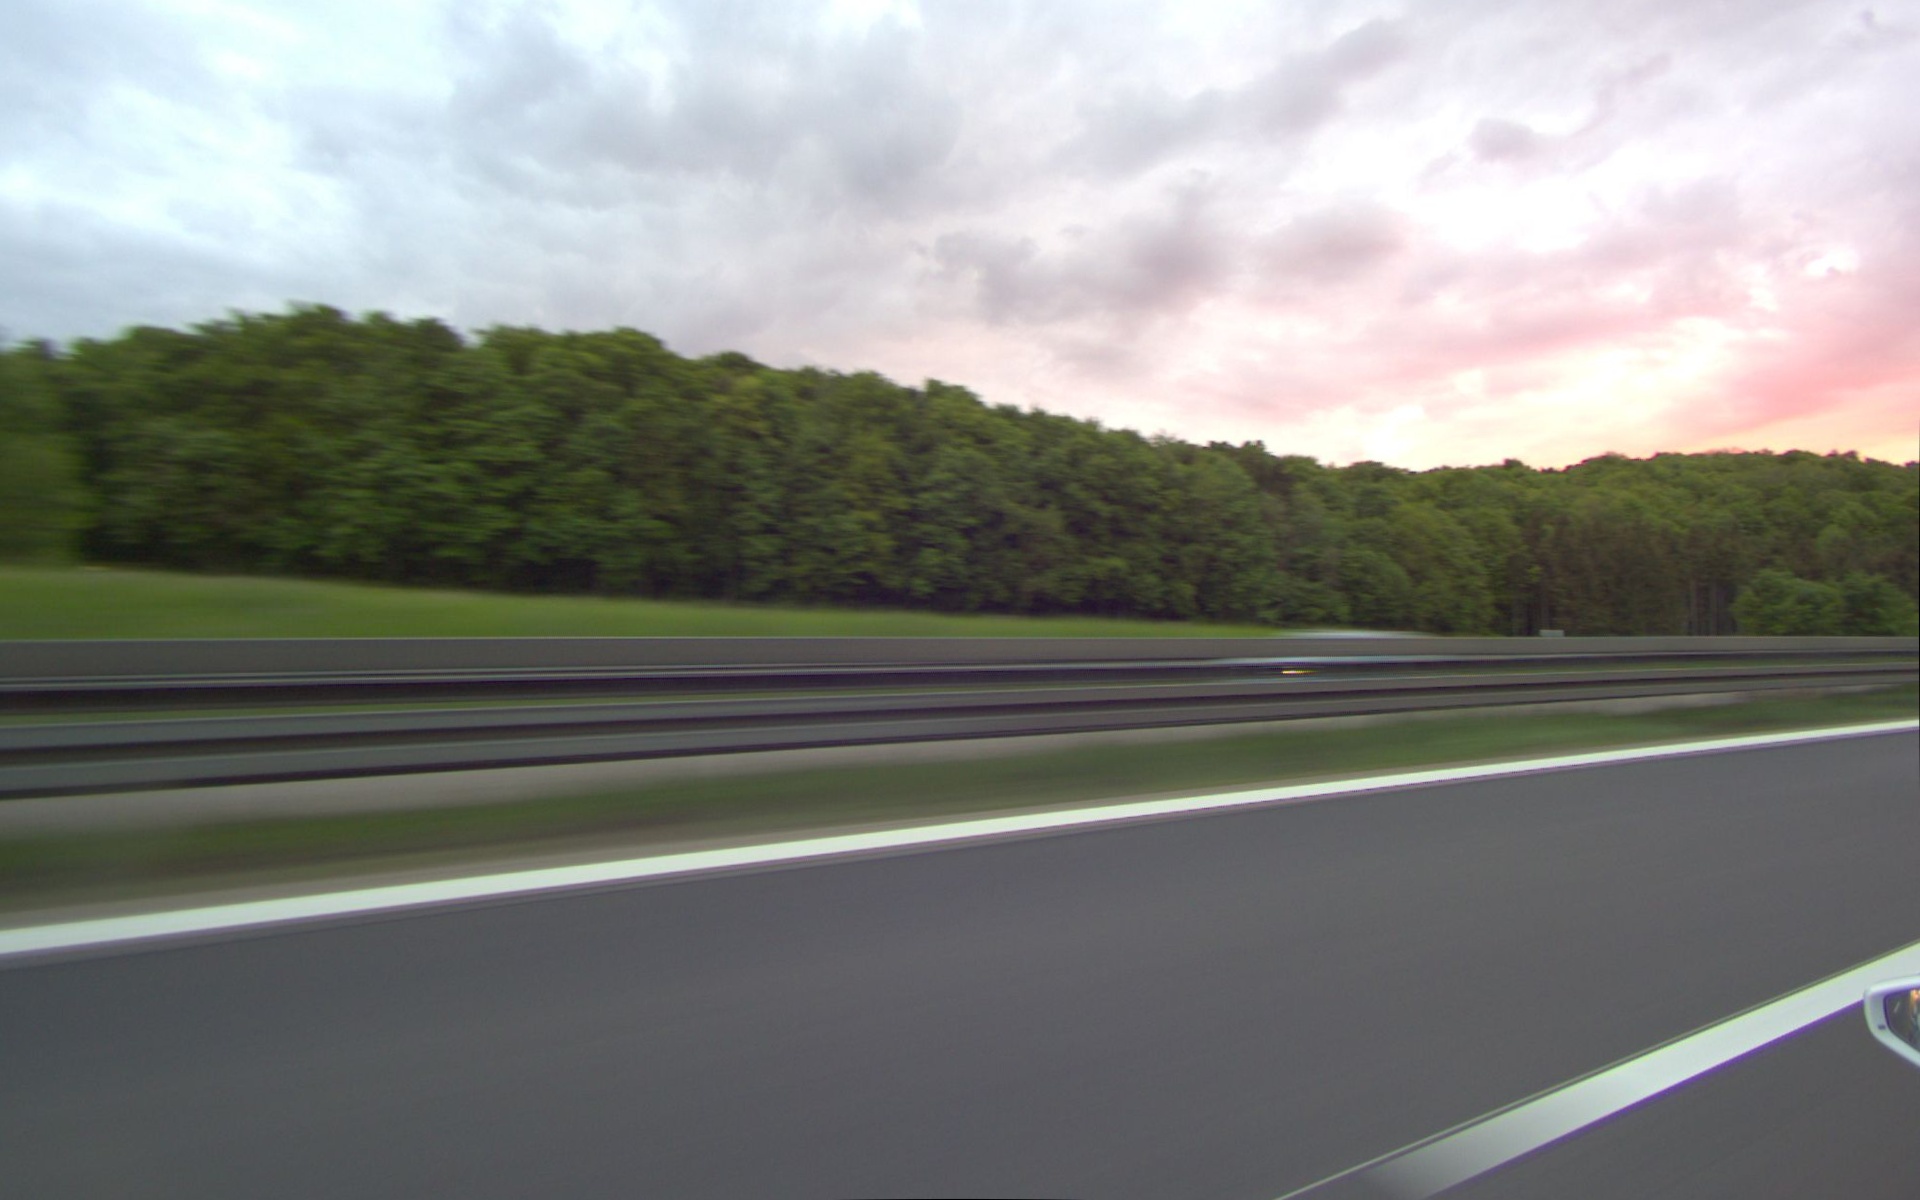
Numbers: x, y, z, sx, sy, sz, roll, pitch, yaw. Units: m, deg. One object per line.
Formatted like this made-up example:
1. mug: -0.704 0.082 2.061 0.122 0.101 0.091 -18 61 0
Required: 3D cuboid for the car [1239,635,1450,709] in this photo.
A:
1. car: 8.441 1.495 21.961 4.622 1.461 1.790 1 -2 -29
